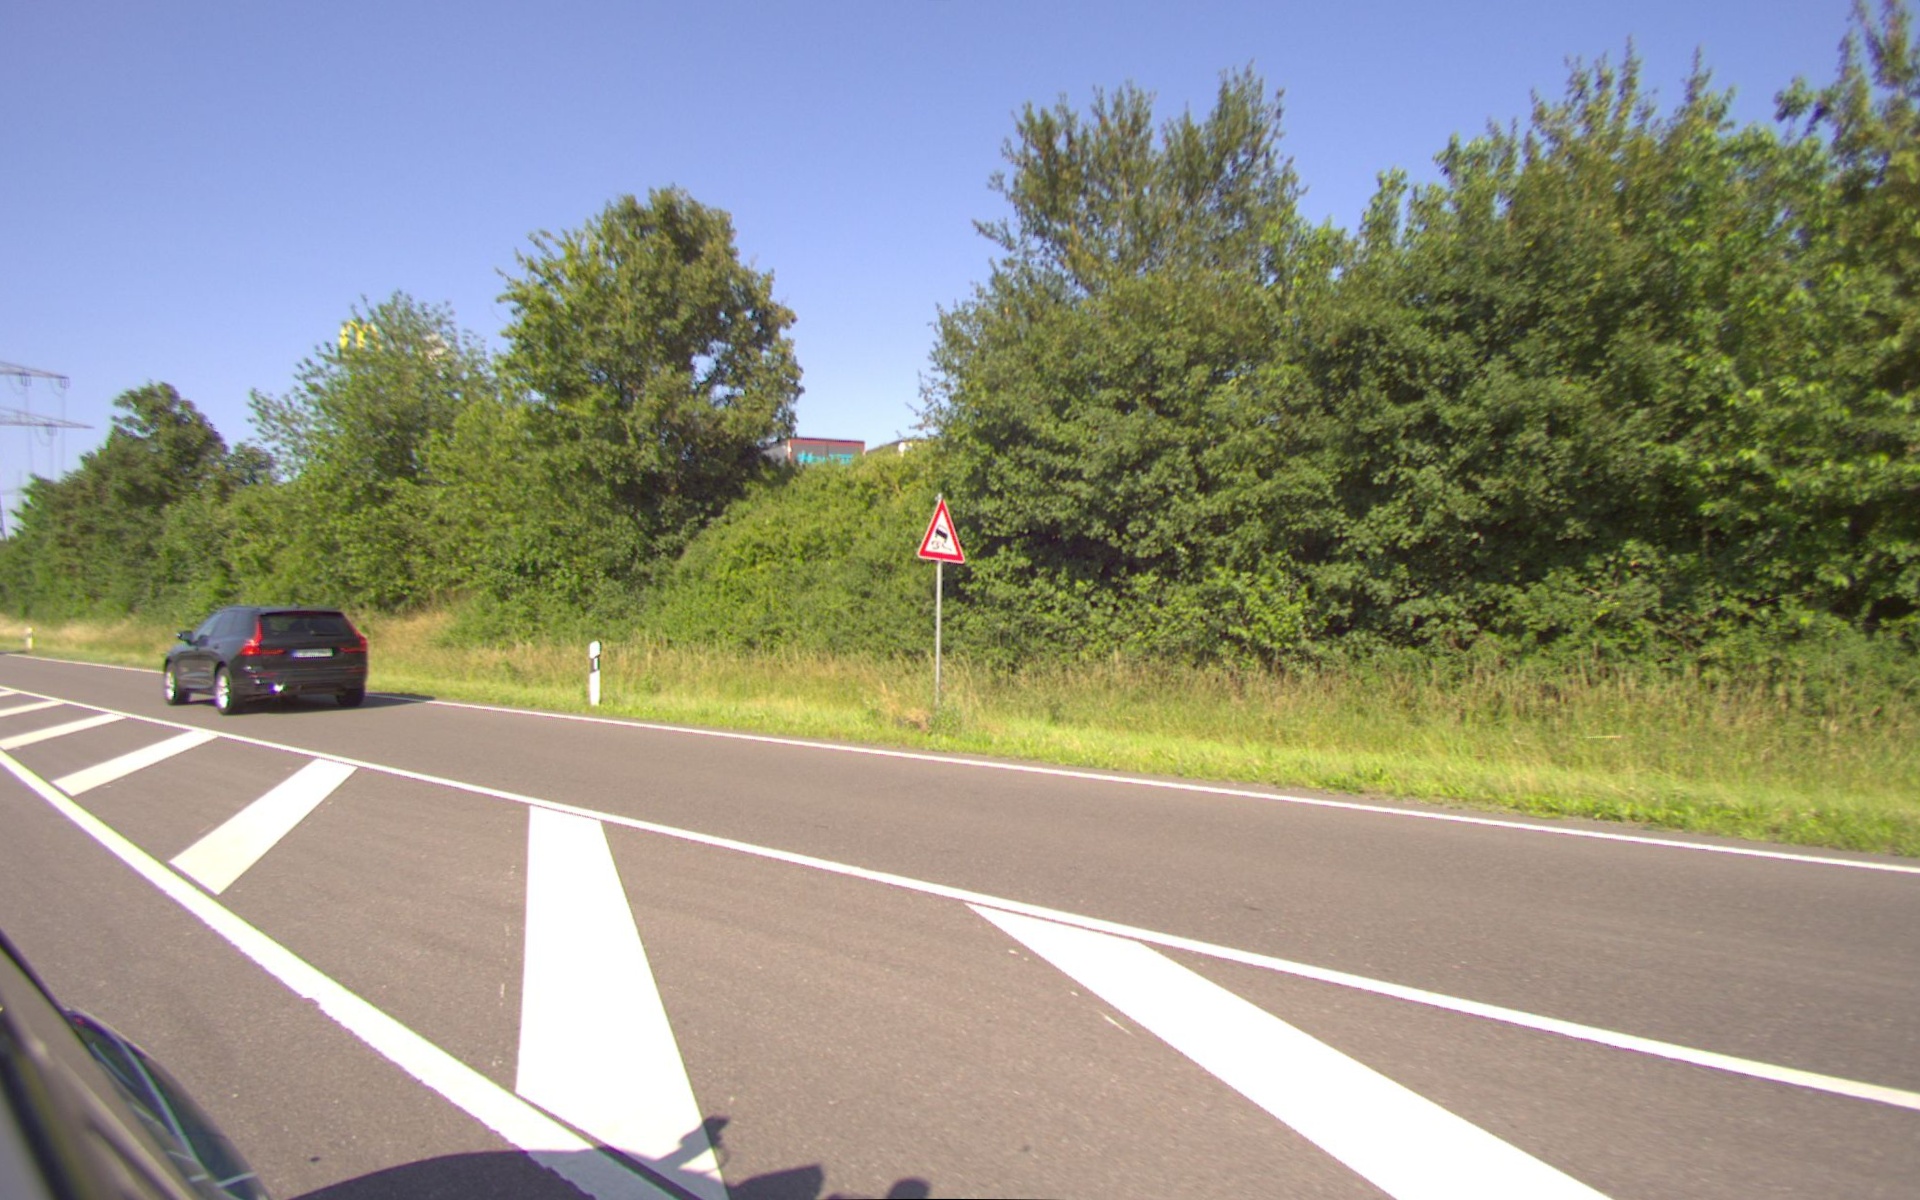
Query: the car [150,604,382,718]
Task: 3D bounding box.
[{"bbox_3d":[-11.341,0.907,16.427,4.424,1.605,1.903,-1,-2,39],"label":"car"}]
